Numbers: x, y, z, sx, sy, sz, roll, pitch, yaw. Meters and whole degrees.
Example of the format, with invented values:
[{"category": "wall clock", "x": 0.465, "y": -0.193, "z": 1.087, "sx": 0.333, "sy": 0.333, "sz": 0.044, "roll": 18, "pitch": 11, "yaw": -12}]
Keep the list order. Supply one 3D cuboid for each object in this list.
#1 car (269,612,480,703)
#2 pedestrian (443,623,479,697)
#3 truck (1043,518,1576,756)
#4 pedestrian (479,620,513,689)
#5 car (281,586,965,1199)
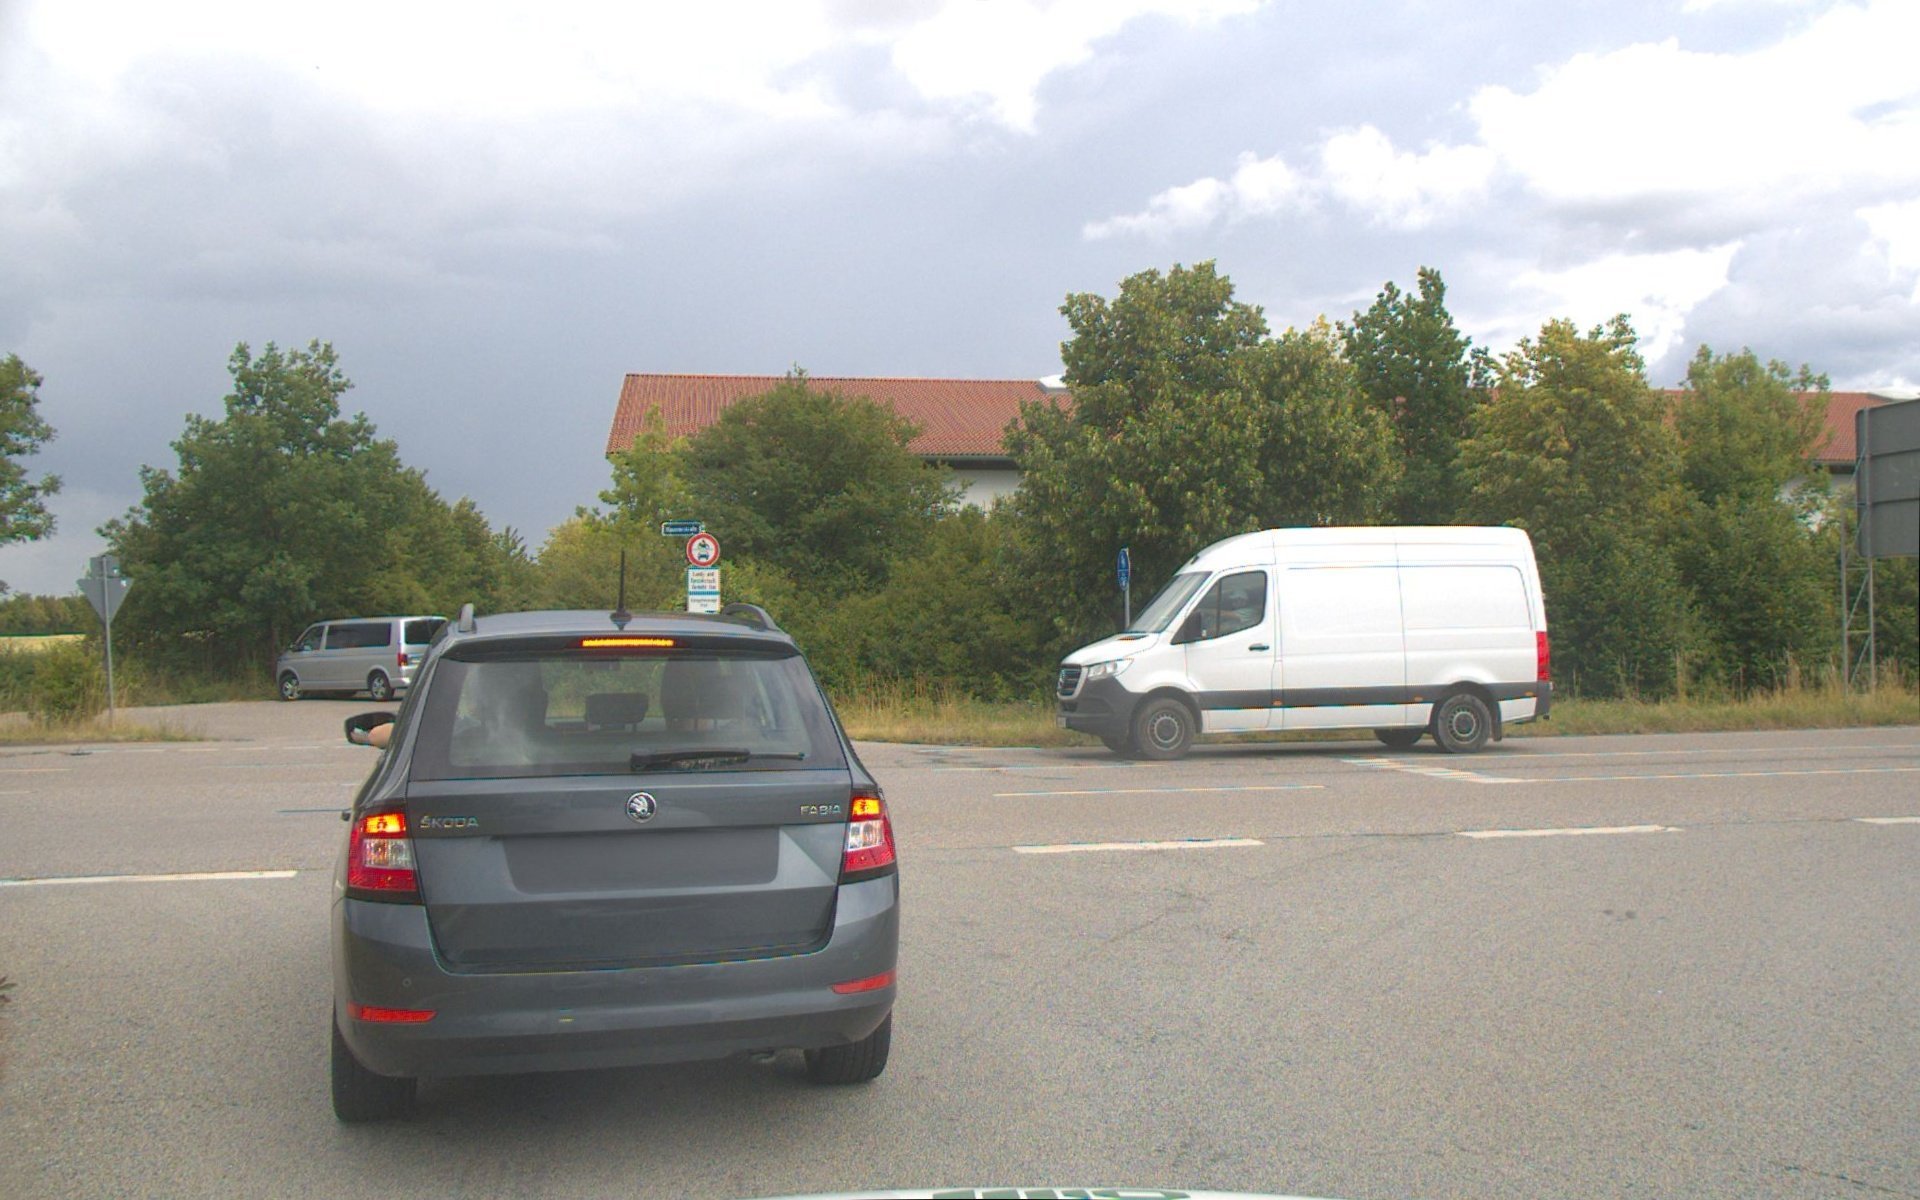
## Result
[{"category": "car", "x": -14.483, "y": 1.393, "z": 40.892, "sx": 4.807, "sy": 2.049, "sz": 2.338, "roll": -1, "pitch": 1, "yaw": 30}, {"category": "pedestrian", "x": -12.217, "y": 1.459, "z": 40.515, "sx": 0.518, "sy": 1.756, "sz": 0.640, "roll": -1, "pitch": 1, "yaw": 29}, {"category": "truck", "x": 4.096, "y": 0.409, "z": 19.770, "sx": 5.887, "sy": 2.621, "sz": 1.995, "roll": -1, "pitch": -2, "yaw": -10}, {"category": "pedestrian", "x": -11.840, "y": 1.389, "z": 42.222, "sx": 0.571, "sy": 1.712, "sz": 0.566, "roll": -1, "pitch": 0, "yaw": 17}, {"category": "car", "x": -1.302, "y": 0.746, "z": 5.831, "sx": 1.649, "sy": 1.488, "sz": 3.690, "roll": 0, "pitch": -1, "yaw": -17}]
